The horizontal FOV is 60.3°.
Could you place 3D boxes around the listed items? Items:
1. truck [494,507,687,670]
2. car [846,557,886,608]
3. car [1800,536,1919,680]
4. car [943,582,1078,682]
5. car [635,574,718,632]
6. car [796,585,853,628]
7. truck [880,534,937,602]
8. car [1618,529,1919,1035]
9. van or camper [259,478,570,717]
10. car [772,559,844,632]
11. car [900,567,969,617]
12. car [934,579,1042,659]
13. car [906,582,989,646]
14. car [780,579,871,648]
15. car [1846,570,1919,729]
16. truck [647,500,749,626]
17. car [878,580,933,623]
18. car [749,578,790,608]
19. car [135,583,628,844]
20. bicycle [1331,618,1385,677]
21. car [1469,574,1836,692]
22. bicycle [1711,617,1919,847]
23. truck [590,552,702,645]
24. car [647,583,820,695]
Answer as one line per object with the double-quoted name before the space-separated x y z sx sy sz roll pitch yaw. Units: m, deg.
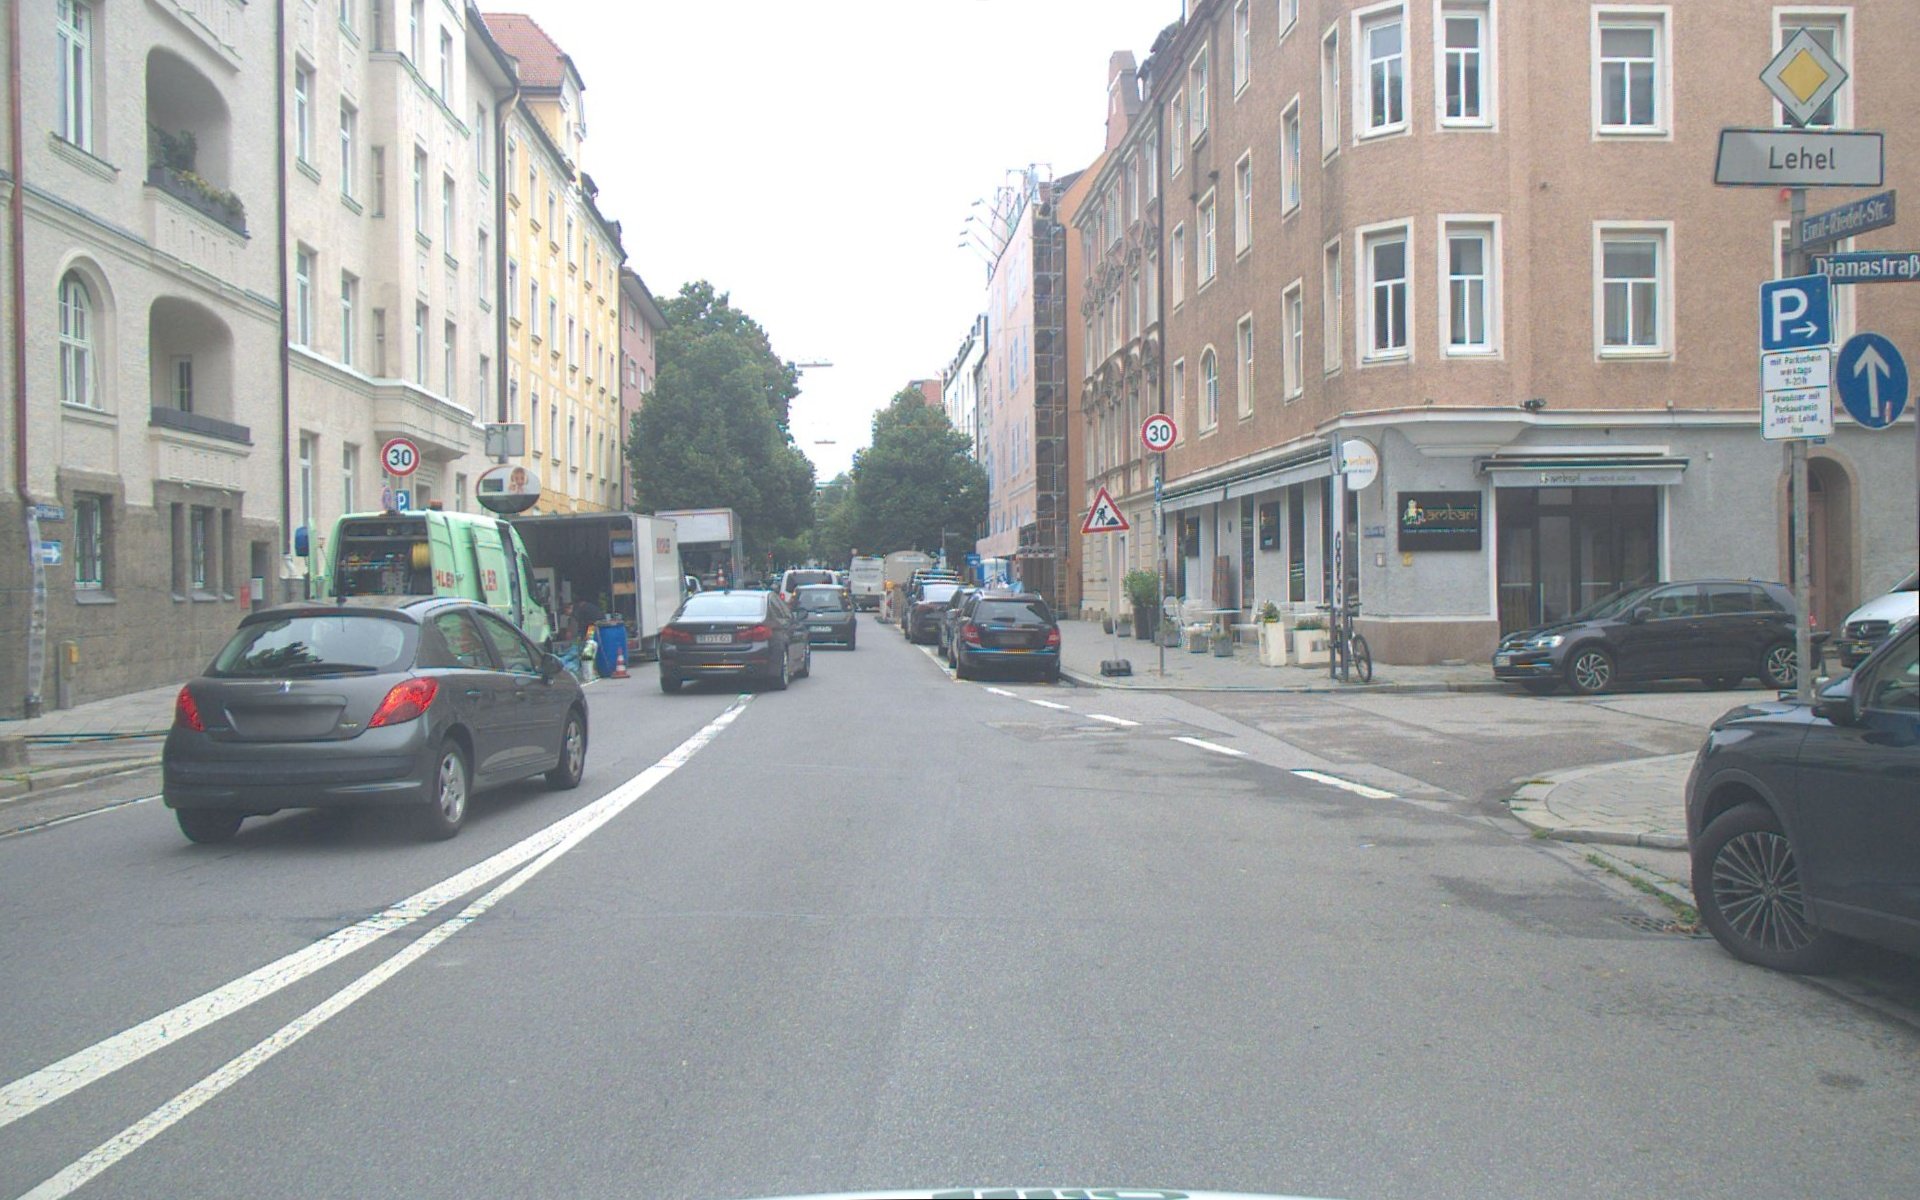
"truck" -7.281 -0.310 33.569 2.718 2.923 7.196 -1 1 -4
"car" -4.734 -0.890 83.747 1.900 2.523 4.781 0 0 -2
"car" 14.637 0.101 22.845 5.025 1.886 2.098 -1 -1 -3
"car" 0.783 0.491 28.446 1.808 1.454 4.180 2 1 -5
"car" -8.394 0.070 49.272 1.950 1.638 4.138 0 0 -3
"car" -4.962 0.205 61.015 1.950 1.454 4.138 -1 1 -3
"truck" -2.428 -1.462 76.833 2.442 3.025 5.323 0 0 -4
"car" 4.111 0.585 5.622 1.782 1.708 4.509 -2 0 -2
"van or camper" -7.363 -0.113 23.252 2.548 2.889 6.183 -1 1 -3
"car" -4.544 -0.185 49.934 1.950 2.111 4.138 -1 1 -3
"car" -0.825 -0.279 50.983 1.950 1.454 4.138 -1 1 -3
"car" 0.519 0.349 34.629 1.808 1.454 4.137 2 1 -5
"car" -0.377 0.316 42.974 1.808 1.454 4.303 2 1 -5
"car" -3.071 0.269 38.429 1.950 1.454 4.138 -1 1 -3
"car" 11.133 0.450 16.237 3.955 1.482 1.746 -1 2 -1
"truck" -8.861 -1.217 56.648 2.953 4.020 6.988 0 0 -5
"car" -2.027 0.019 60.624 1.950 1.454 4.138 -1 1 -3
"car" -9.601 -0.356 83.513 1.901 1.473 3.863 0 0 -4
"car" -3.736 0.638 11.524 1.721 1.486 4.077 -1 0 5
"bicycle" 5.802 0.678 24.139 0.447 0.819 1.326 0 0 -1
"car" 9.176 0.438 22.129 4.087 1.454 1.924 -1 -1 -3
"bicycle" 5.312 0.738 10.107 0.503 1.229 1.995 0 0 -1
"truck" -7.847 -0.057 41.763 2.241 2.209 4.803 0 0 -4
"car" -3.355 0.519 25.445 1.949 1.454 4.906 -1 1 0
